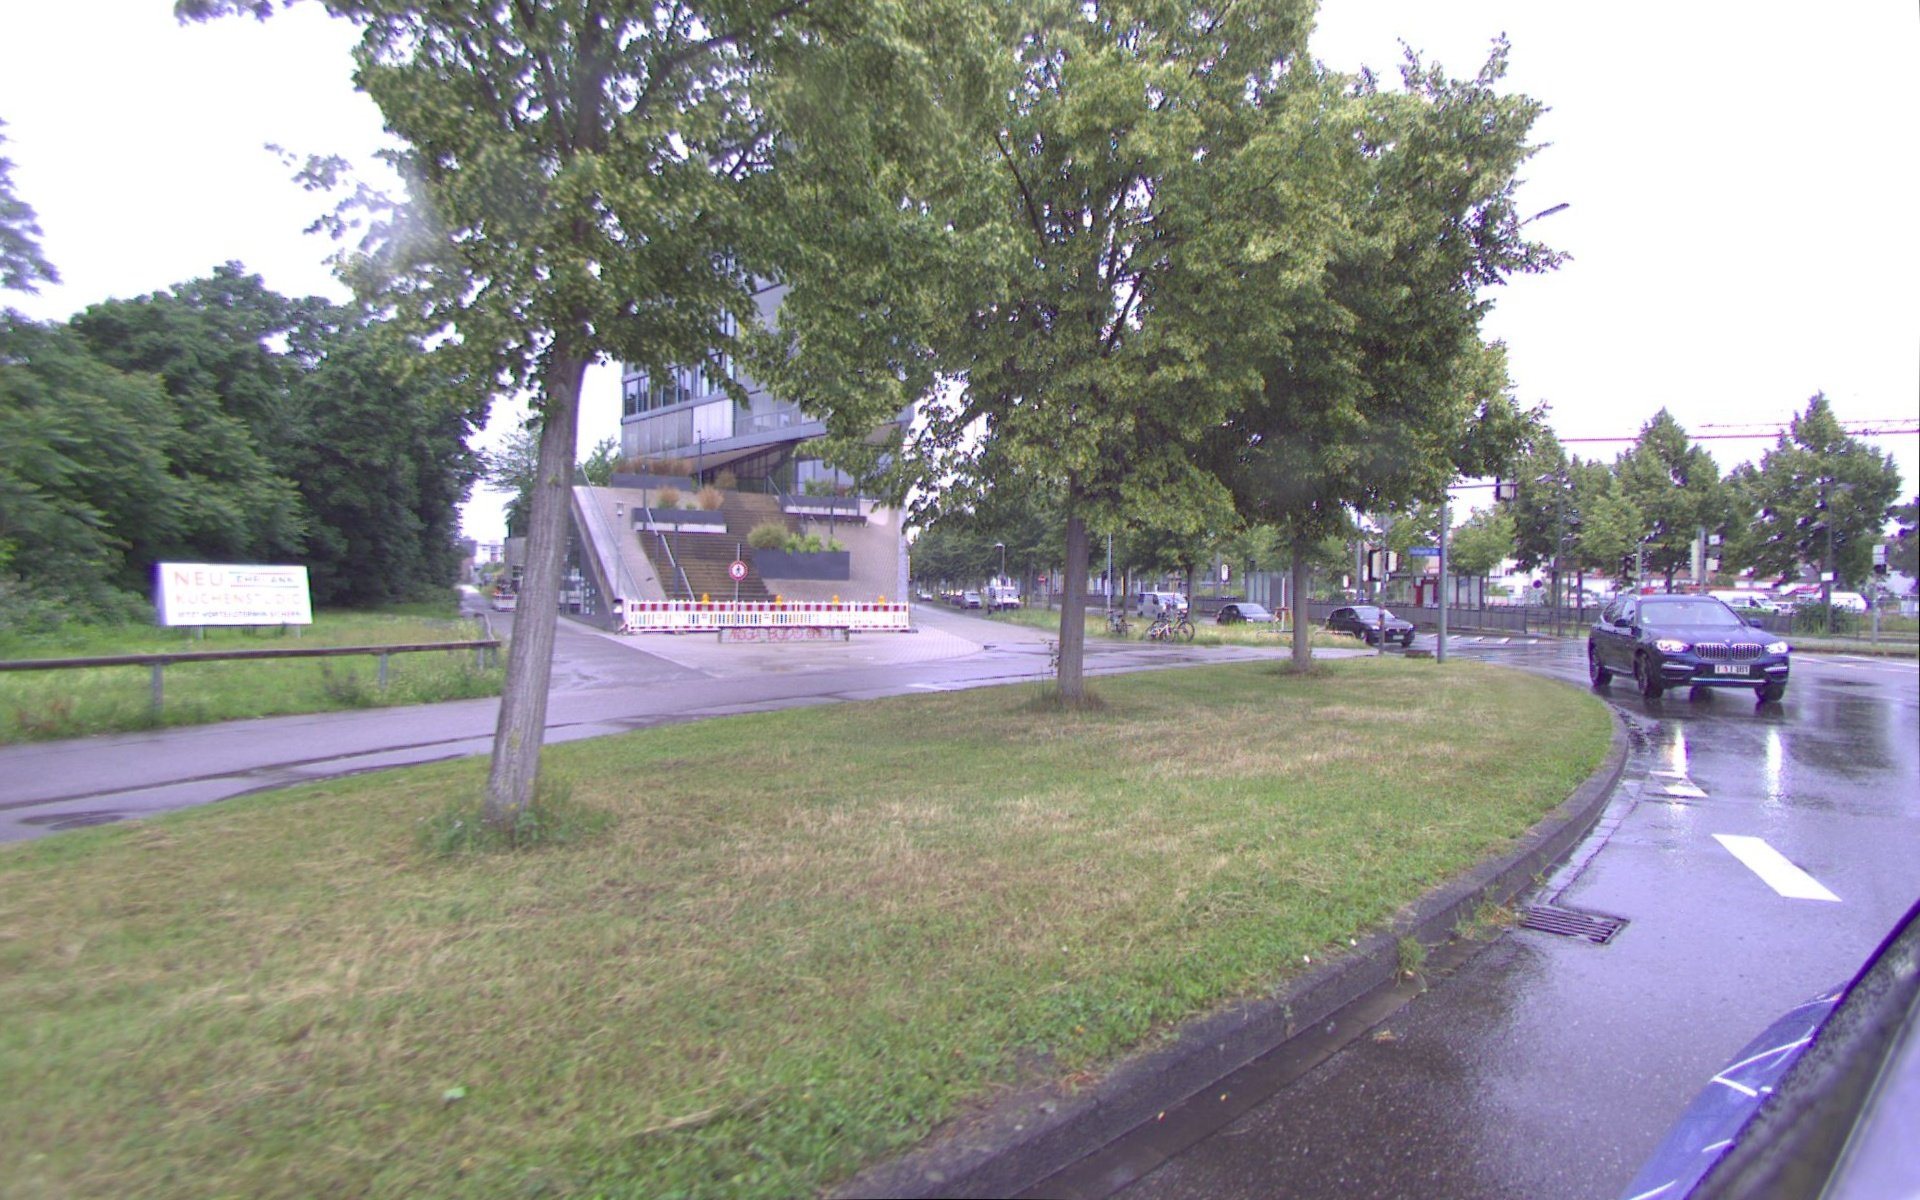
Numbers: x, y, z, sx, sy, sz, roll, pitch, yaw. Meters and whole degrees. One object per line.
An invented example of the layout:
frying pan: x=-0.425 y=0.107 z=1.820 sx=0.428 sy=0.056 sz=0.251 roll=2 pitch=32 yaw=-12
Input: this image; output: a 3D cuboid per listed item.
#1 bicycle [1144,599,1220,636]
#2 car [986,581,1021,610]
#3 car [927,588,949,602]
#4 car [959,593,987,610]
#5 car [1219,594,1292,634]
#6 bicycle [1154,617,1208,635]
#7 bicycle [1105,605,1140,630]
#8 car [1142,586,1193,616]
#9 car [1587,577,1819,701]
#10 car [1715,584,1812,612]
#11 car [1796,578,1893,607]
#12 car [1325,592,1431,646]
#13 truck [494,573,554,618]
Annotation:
bicycle: x=7.481 y=0.566 z=34.189 sx=2.509 sy=1.204 sz=0.546 roll=0 pitch=0 yaw=36
car: x=3.566 y=-0.417 z=83.816 sx=2.044 sy=2.229 sz=5.104 roll=-2 pitch=1 yaw=-6
car: x=-2.643 y=-0.609 z=121.748 sx=1.959 sy=1.571 sz=4.007 roll=-2 pitch=1 yaw=-11
car: x=1.252 y=0.090 z=100.865 sx=1.959 sy=1.571 sz=4.007 roll=-2 pitch=1 yaw=-11
car: x=13.452 y=0.596 z=46.311 sx=1.753 sy=1.668 sz=4.005 roll=-2 pitch=1 yaw=-6
bicycle: x=7.394 y=0.873 z=33.924 sx=1.791 sy=0.566 sz=0.317 roll=0 pitch=0 yaw=36
bicycle: x=5.878 y=0.620 z=36.702 sx=0.623 sy=0.857 sz=2.167 roll=0 pitch=0 yaw=-9
car: x=12.296 y=0.022 z=60.133 sx=1.753 sy=1.668 sz=4.005 roll=-2 pitch=1 yaw=-6
car: x=12.312 y=0.543 z=17.137 sx=1.893 sy=1.768 sz=4.357 roll=-2 pitch=1 yaw=19
car: x=77.212 y=-0.224 z=97.427 sx=2.308 sy=2.507 sz=7.652 roll=-2 pitch=1 yaw=-10
car: x=83.980 y=-0.730 z=96.255 sx=2.450 sy=2.507 sz=6.848 roll=-2 pitch=1 yaw=-10
car: x=15.303 y=0.641 z=37.337 sx=1.880 sy=1.768 sz=4.386 roll=-2 pitch=1 yaw=-3
truck: x=-27.162 y=-0.270 z=62.818 sx=2.300 sy=2.487 sz=10.792 roll=-2 pitch=1 yaw=-29
